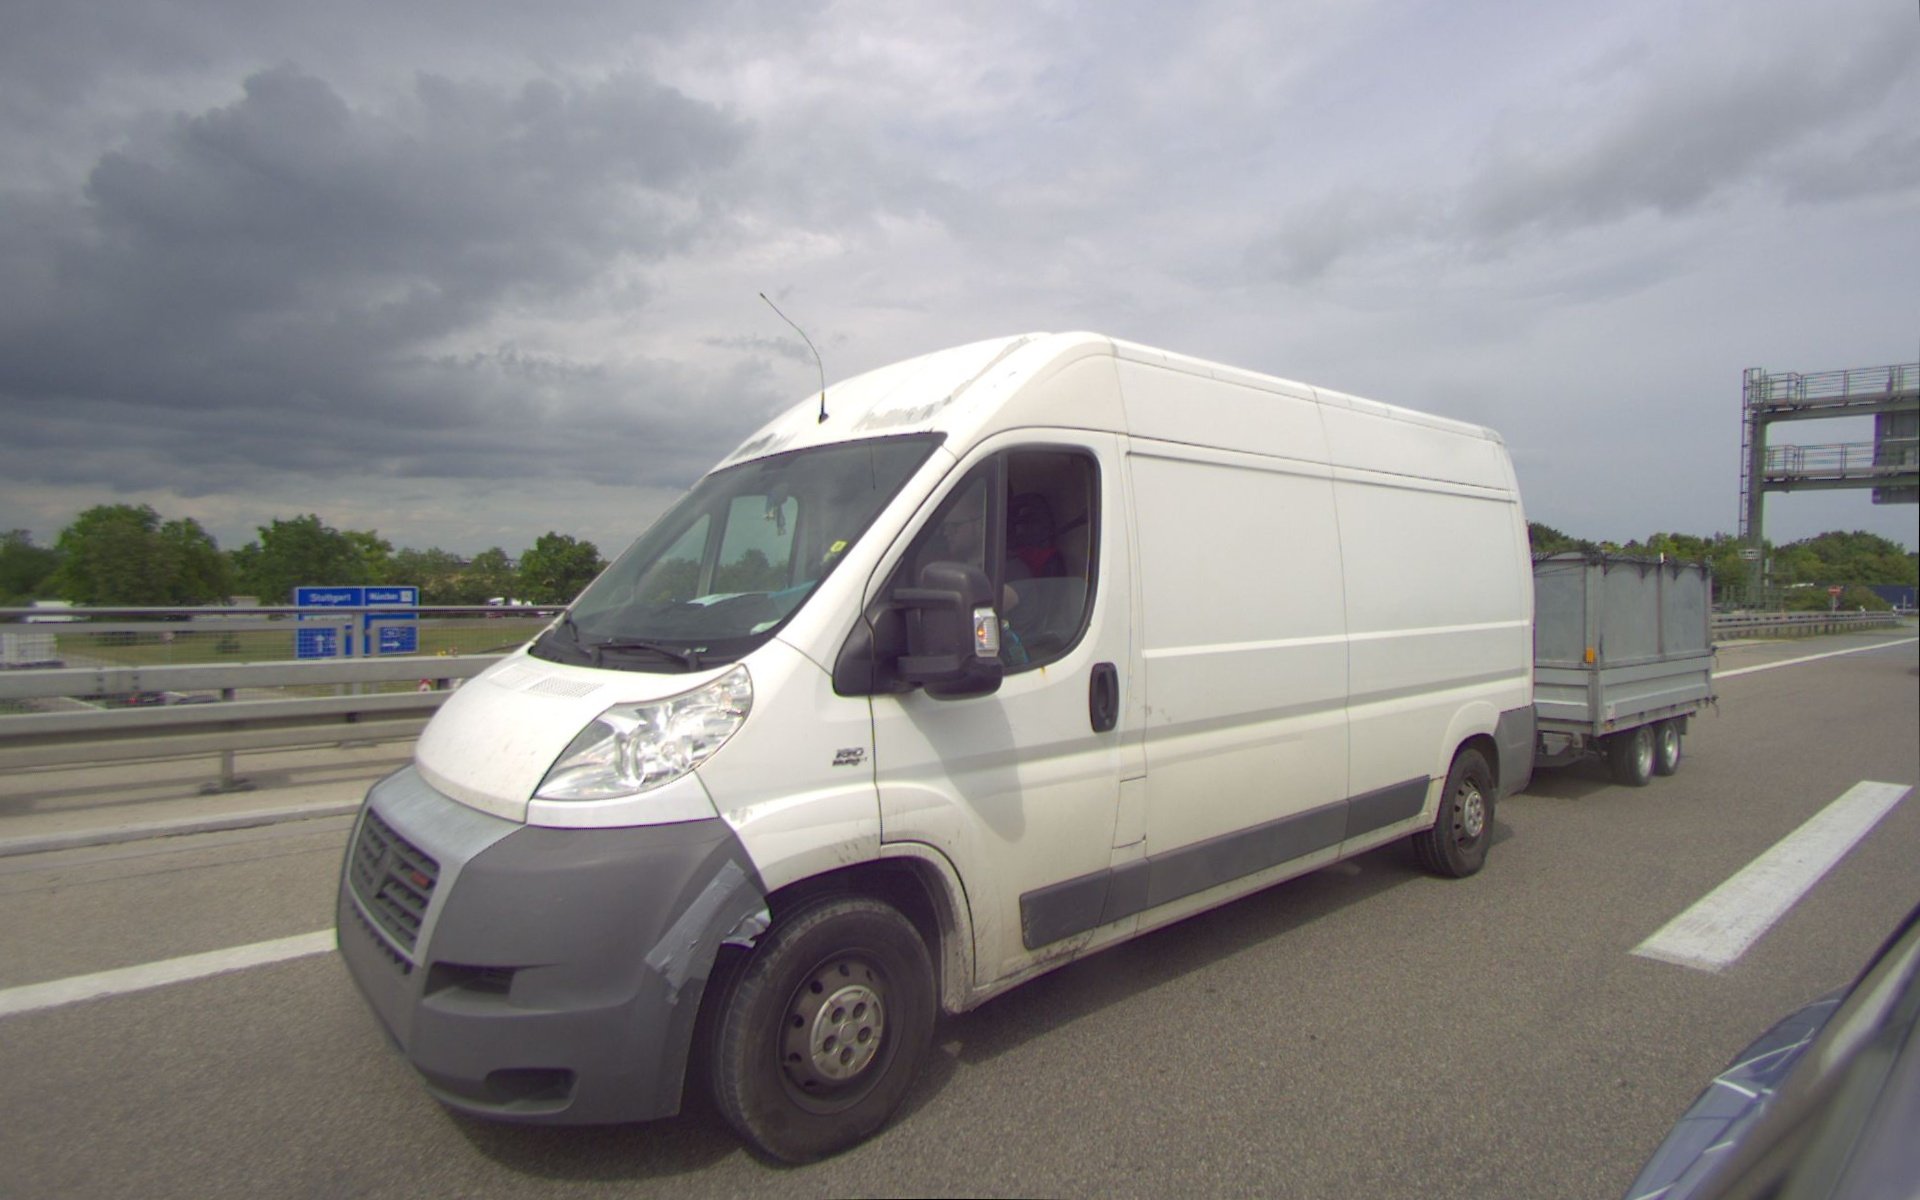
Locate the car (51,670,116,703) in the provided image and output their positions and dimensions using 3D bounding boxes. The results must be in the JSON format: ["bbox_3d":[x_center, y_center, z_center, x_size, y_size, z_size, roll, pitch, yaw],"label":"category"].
[{"bbox_3d":[-54.798,5.365,63.239,4.435,1.631,1.976,1,1,34],"label":"car"}]

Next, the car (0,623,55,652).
[{"bbox_3d":[-70.159,2.801,75.946,4.635,2.039,2.159,0,0,32],"label":"car"}]

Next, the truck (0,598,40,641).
[{"bbox_3d":[-123.064,2.492,130.682,6.363,5.380,3.834,-1,0,20],"label":"truck"}]

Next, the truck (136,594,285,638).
[{"bbox_3d":[-92.186,1.880,124.732,14.550,5.281,3.867,0,0,-10],"label":"truck"}]

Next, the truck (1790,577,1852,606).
[{"bbox_3d":[117.366,-1.173,137.992,5.825,3.851,2.897,0,-1,6],"label":"truck"}]

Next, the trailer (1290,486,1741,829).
[{"bbox_3d":[4.721,0.339,8.258,4.552,2.039,1.857,0,0,-42],"label":"trailer"}]

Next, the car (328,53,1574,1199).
[{"bbox_3d":[0.681,0.130,4.838,6.044,2.485,2.117,0,0,-41],"label":"car"}]

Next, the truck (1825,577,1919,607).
[{"bbox_3d":[124.656,-1.088,137.161,11.586,3.907,2.842,0,0,6],"label":"truck"}]

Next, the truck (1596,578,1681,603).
[{"bbox_3d":[97.533,-1.326,145.619,9.775,3.446,2.671,0,0,26],"label":"truck"}]

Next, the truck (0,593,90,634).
[{"bbox_3d":[-117.380,1.651,128.890,12.826,5.105,3.929,0,0,18],"label":"truck"}]

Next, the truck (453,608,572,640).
[{"bbox_3d":[-60.237,3.208,136.739,14.423,4.141,3.092,0,0,-21],"label":"truck"}]
